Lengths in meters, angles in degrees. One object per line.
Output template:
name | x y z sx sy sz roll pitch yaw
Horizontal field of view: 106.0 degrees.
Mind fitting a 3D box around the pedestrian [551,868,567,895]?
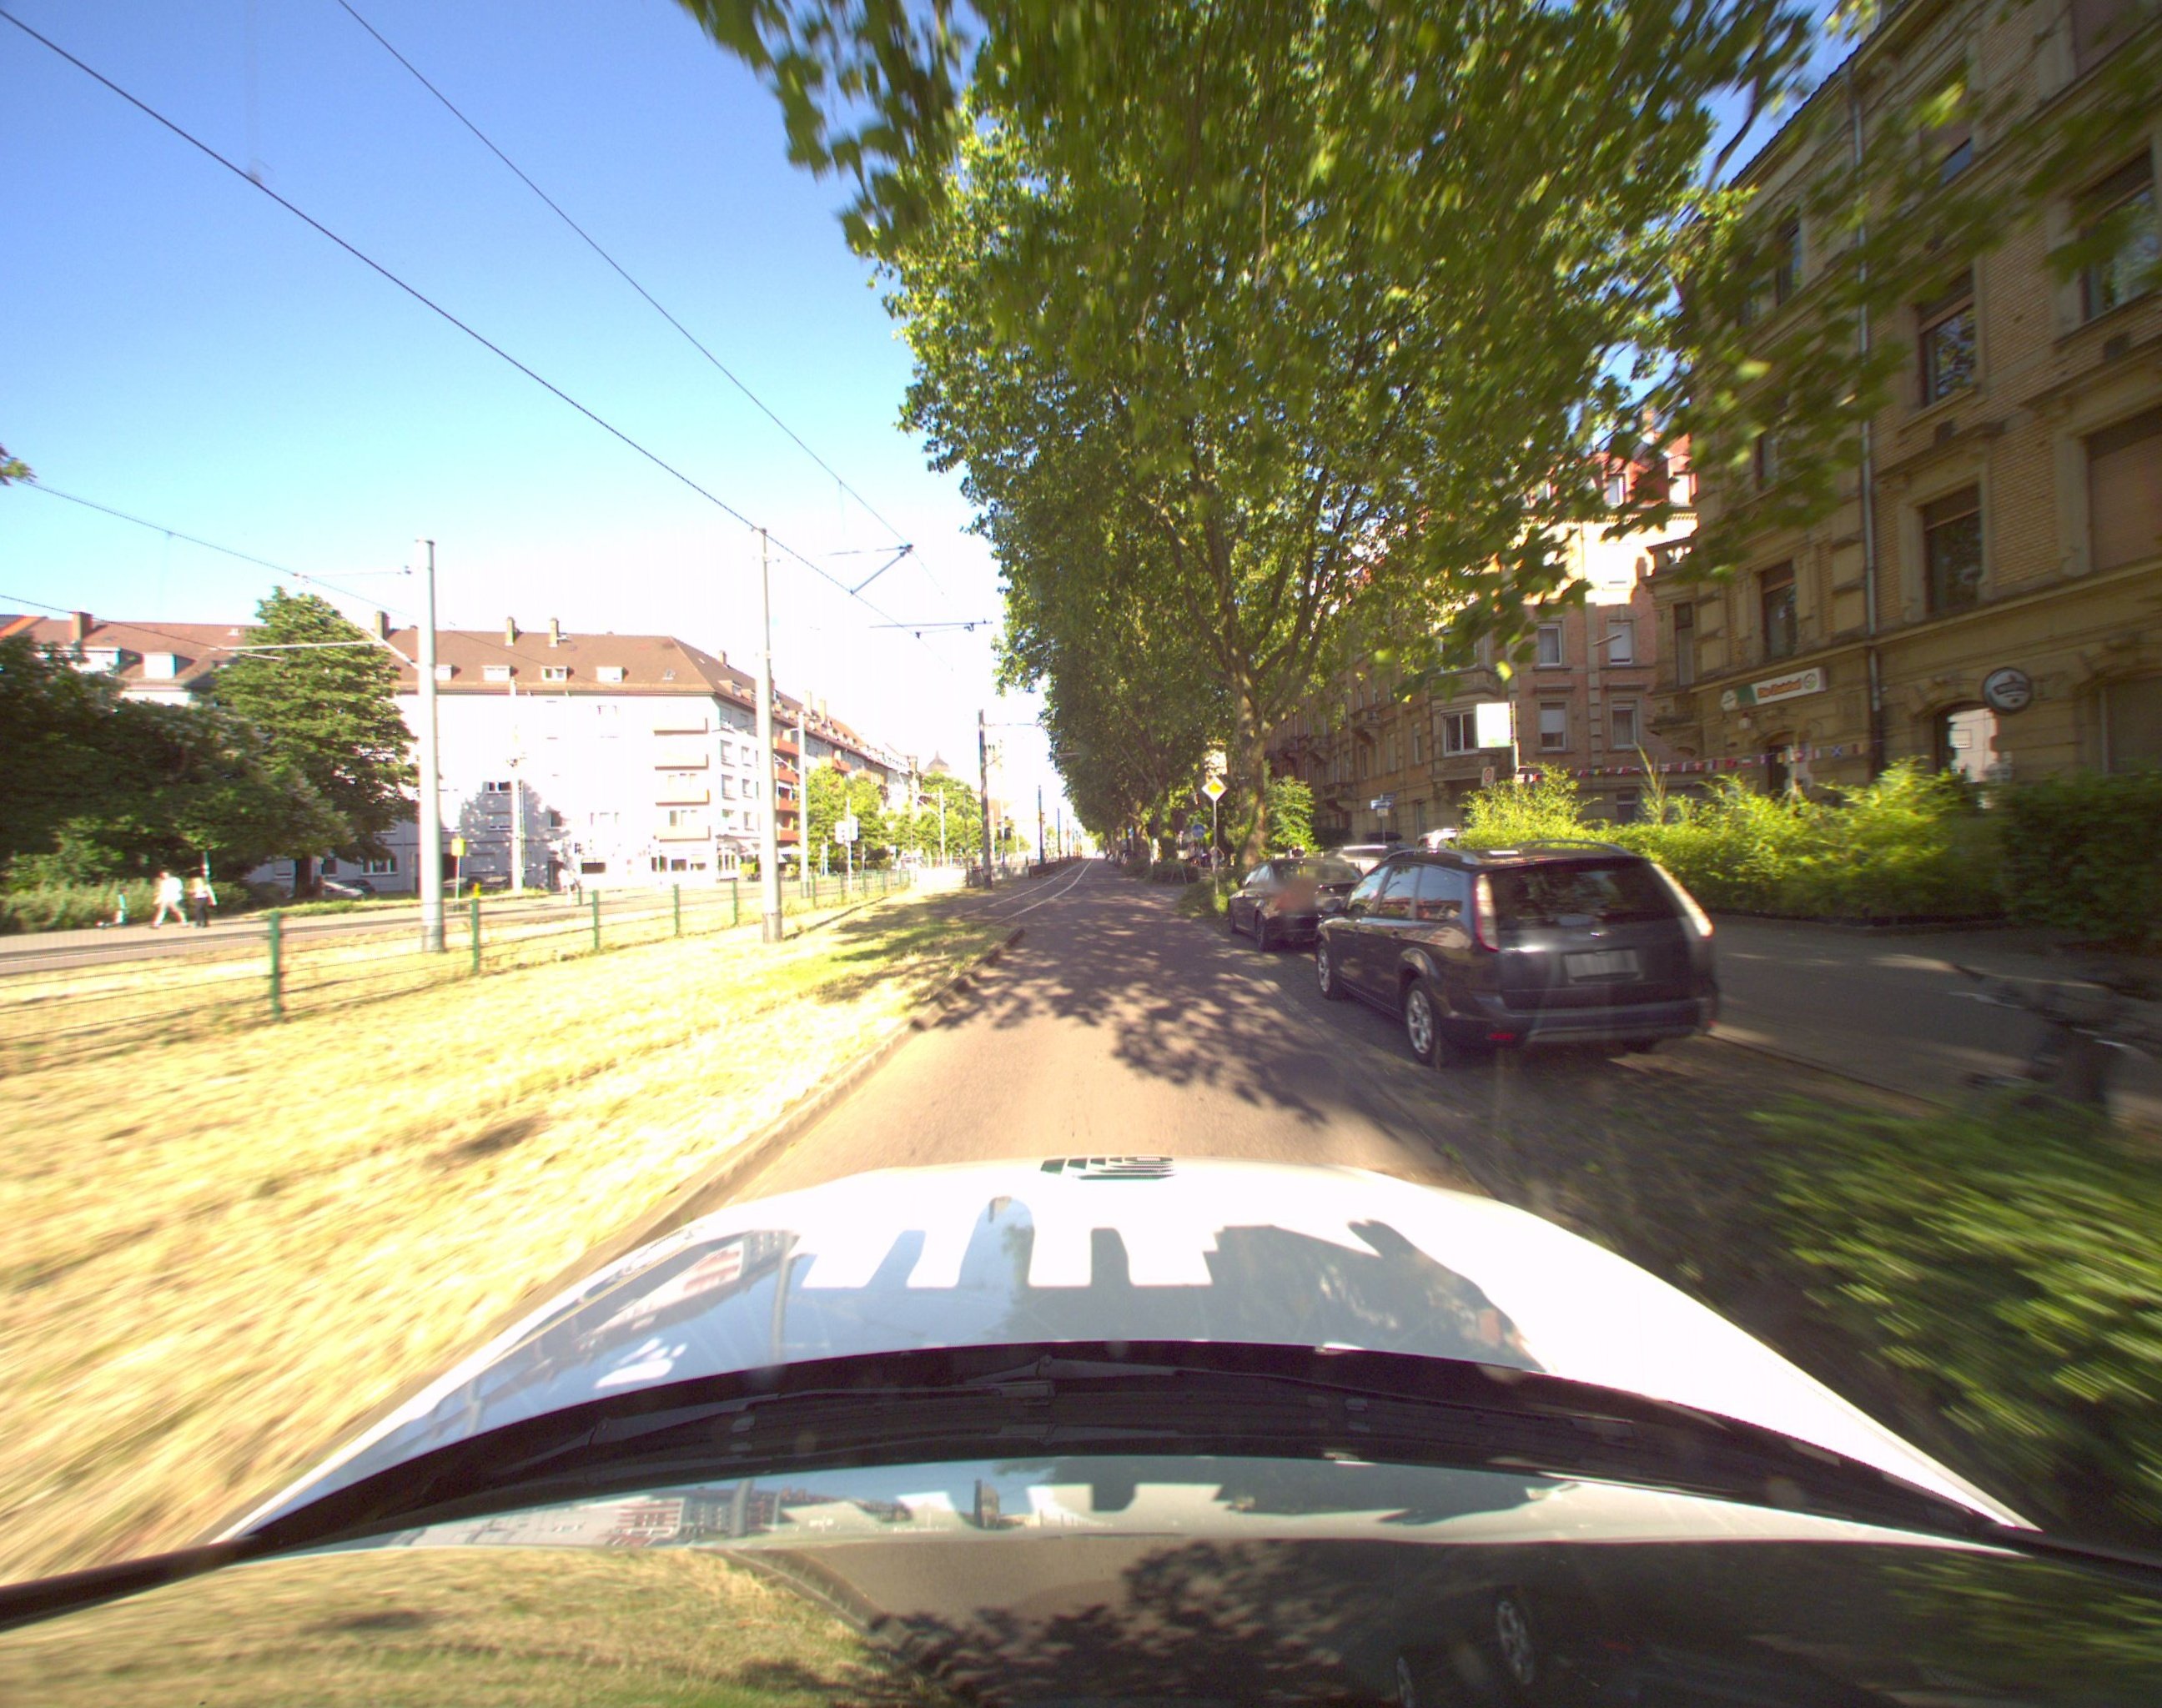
pedestrian | -30.471 1.609 47.545 0.592 1.467 0.908 -4 3 -29

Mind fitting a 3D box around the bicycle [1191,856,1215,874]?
bicycle | 7.578 0.663 50.770 0.813 0.957 2.312 -3 3 -8

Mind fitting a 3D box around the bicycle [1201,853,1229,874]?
bicycle | 7.146 0.474 43.547 0.813 0.957 2.312 -3 3 -8

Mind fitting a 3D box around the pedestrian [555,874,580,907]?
pedestrian | -24.213 1.709 38.420 0.685 1.467 0.592 -3 2 4

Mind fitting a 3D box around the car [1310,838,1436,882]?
car | 10.886 0.227 30.538 3.977 1.420 1.998 -3 0 -2

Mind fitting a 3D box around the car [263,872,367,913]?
car | -46.334 2.297 49.361 3.987 2.013 1.994 -3 3 -10

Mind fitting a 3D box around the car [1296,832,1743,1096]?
car | 3.191 0.655 6.999 1.637 1.511 4.184 -3 0 2

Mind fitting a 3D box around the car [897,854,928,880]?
car | -15.225 1.153 73.783 1.988 2.013 3.998 -3 3 -2

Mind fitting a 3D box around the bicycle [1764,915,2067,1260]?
bicycle | 3.651 0.888 3.529 1.606 1.042 0.504 -4 3 -29

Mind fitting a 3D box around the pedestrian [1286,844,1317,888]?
pedestrian | 8.966 0.464 33.212 0.813 1.689 1.078 -3 2 -8

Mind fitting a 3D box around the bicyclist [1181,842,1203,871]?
bicyclist | 5.762 0.117 42.251 0.813 1.405 1.078 -3 2 -8

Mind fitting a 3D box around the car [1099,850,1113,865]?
car | 3.528 0.571 116.611 1.986 2.107 4.001 0 -1 2

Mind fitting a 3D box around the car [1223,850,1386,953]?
car | 3.529 0.668 13.610 1.637 1.373 4.184 -3 0 2

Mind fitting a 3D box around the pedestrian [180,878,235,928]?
pedestrian | -27.739 1.541 25.875 0.587 1.467 0.917 -3 2 1

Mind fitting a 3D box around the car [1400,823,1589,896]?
car | 13.067 0.156 25.921 4.971 2.013 1.998 -3 0 -3

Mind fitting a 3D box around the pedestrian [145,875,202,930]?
pedestrian | -28.445 1.497 25.537 0.641 1.598 0.898 -3 2 1

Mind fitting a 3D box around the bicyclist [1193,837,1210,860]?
bicyclist | 7.495 -0.355 50.749 0.813 1.405 0.823 -3 2 -8

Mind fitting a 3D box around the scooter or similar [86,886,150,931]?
scooter or similar | -30.096 1.691 25.463 0.400 1.261 1.231 -3 2 2

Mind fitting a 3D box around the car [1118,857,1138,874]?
car | 4.342 1.055 75.226 1.787 1.510 4.001 0 -1 2

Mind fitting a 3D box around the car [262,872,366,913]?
car | -46.345 2.296 49.324 3.987 2.013 1.994 -3 3 -10

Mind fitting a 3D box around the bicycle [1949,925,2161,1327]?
bicycle | 3.919 0.888 3.048 1.606 1.025 0.537 -4 3 -29

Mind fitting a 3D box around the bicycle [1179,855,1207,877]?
bicycle | 5.789 0.602 42.237 0.813 0.957 2.312 -3 3 -8

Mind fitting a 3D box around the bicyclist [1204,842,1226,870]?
bicyclist | 7.135 0.073 43.491 0.813 1.405 1.078 -3 2 -8

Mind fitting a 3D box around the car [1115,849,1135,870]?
car | 4.555 0.608 84.047 1.986 2.107 4.001 0 -1 2
